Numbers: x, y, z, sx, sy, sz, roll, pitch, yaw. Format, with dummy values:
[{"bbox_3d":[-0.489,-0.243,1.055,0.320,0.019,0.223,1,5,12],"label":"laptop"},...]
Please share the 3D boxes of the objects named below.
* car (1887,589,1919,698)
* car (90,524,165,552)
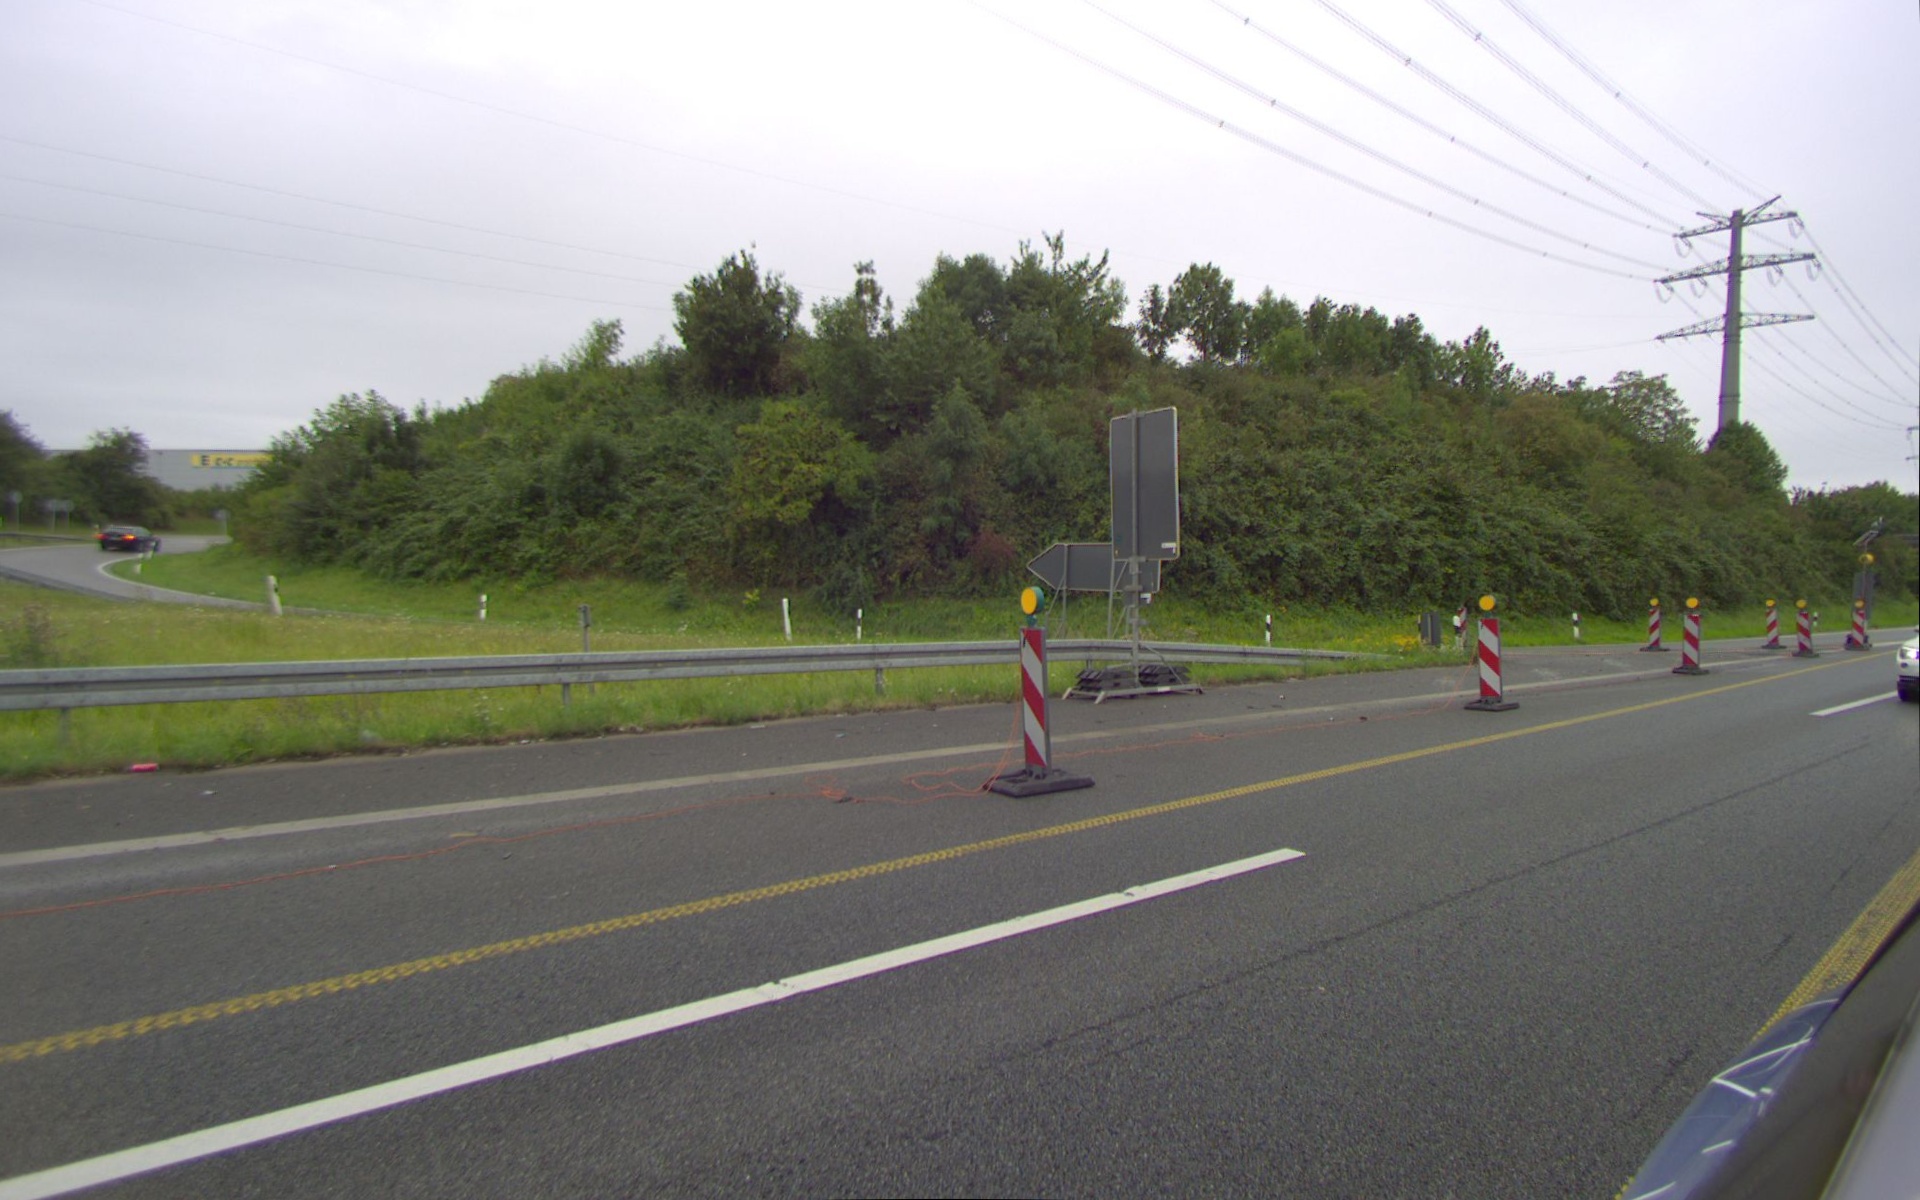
[{"bbox_3d":[15.652,0.632,15.100,4.117,1.554,1.876,0,1,-36],"label":"car"},{"bbox_3d":[-49.668,-3.673,60.495,1.958,1.466,4.605,1,2,-19],"label":"car"}]
